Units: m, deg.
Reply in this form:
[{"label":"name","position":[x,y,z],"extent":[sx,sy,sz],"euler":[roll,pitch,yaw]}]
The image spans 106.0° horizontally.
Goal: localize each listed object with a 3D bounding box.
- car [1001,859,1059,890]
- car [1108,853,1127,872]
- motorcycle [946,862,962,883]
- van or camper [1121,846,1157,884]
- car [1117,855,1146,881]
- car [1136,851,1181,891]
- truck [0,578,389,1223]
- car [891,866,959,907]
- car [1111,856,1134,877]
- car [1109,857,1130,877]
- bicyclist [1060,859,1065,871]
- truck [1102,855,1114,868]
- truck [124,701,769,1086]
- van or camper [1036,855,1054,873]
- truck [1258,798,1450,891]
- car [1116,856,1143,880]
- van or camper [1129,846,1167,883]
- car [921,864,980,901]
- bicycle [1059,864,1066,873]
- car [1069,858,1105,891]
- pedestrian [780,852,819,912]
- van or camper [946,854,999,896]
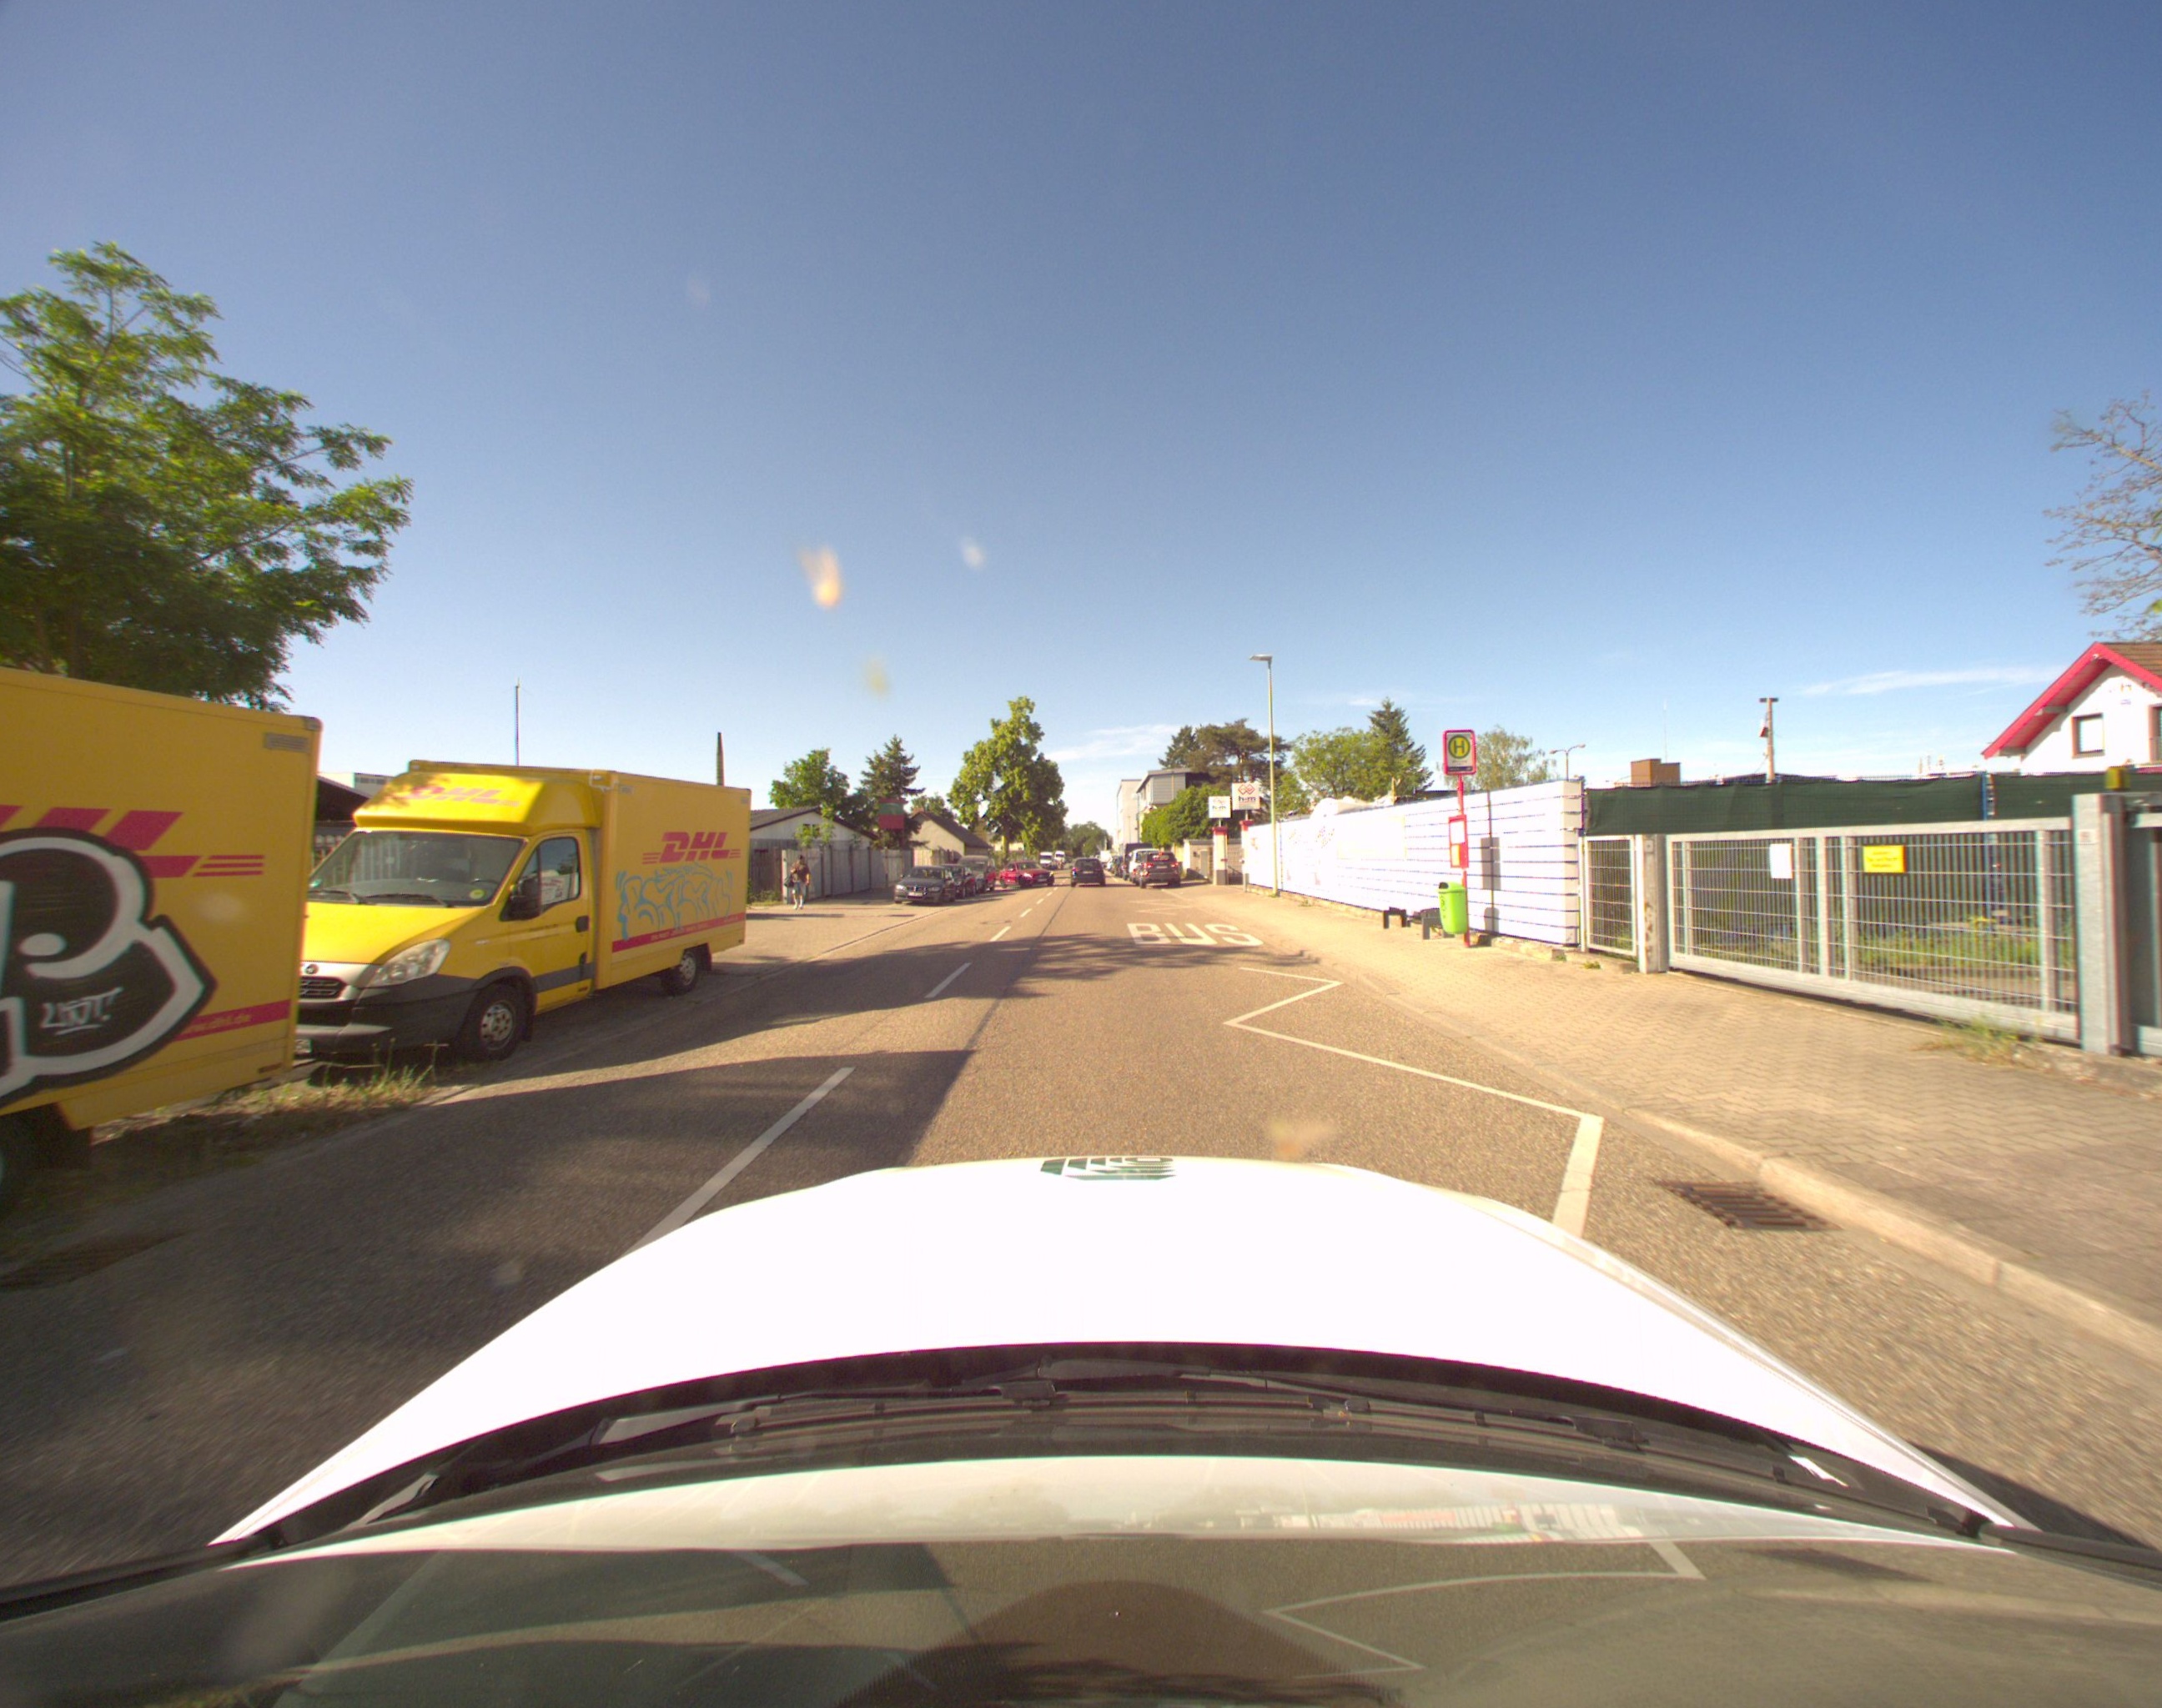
[{"label":"car","position":[-2.826,1.092,44.158],"extent":[1.884,1.485,4.013],"euler":[-3,0,-23]},{"label":"car","position":[3.787,0.876,85.554],"extent":[1.912,1.825,4.080],"euler":[-1,0,1]},{"label":"motorcycle","position":[-8.957,1.285,57.550],"extent":[0.774,1.445,2.039],"euler":[-1,0,1]},{"label":"van or camper","position":[3.645,0.688,51.752],"extent":[1.986,2.310,4.001],"euler":[-1,0,1]},{"label":"car","position":[3.659,0.990,59.143],"extent":[1.912,1.825,4.080],"euler":[-1,0,1]},{"label":"car","position":[3.761,0.798,40.145],"extent":[1.912,1.825,4.080],"euler":[-1,0,1]},{"label":"truck","position":[-6.216,0.201,2.604],"extent":[2.394,2.983,6.375],"euler":[0,0,1]},{"label":"car","position":[-5.888,1.189,31.230],"extent":[1.751,1.403,4.555],"euler":[-1,0,-1]},{"label":"car","position":[3.756,1.118,73.653],"extent":[1.912,1.825,4.080],"euler":[-1,0,1]},{"label":"car","position":[3.739,1.224,79.304],"extent":[1.912,1.825,4.080],"euler":[-1,0,1]},{"label":"bicyclist","position":[-2.500,1.475,109.216],"extent":[0.693,1.539,0.635],"euler":[-1,-1,-1]},{"label":"truck","position":[4.781,1.275,145.741],"extent":[1.986,2.288,6.956],"euler":[-1,0,1]},{"label":"truck","position":[-6.070,0.304,9.421],"extent":[2.184,2.902,6.441],"euler":[1,0,2]},{"label":"van or camper","position":[-5.042,1.326,113.183],"extent":[2.318,2.362,6.521],"euler":[-1,0,-3]},{"label":"truck","position":[11.753,-0.400,35.420],"extent":[7.358,3.771,2.829],"euler":[-1,-1,-4]},{"label":"car","position":[3.819,1.078,64.221],"extent":[1.912,1.825,4.080],"euler":[-1,0,1]},{"label":"van or camper","position":[3.797,0.593,46.601],"extent":[1.912,2.019,4.080],"euler":[-1,0,1]},{"label":"car","position":[-5.729,1.236,36.201],"extent":[1.687,1.469,4.177],"euler":[-1,0,3]},{"label":"bicycle","position":[-2.475,1.882,109.094],"extent":[0.826,1.153,2.939],"euler":[-1,0,0]},{"label":"car","position":[0.334,1.005,41.729],"extent":[1.705,1.532,3.689],"euler":[-2,0,2]},{"label":"pedestrian","position":[-8.963,0.879,25.958],"extent":[0.996,1.838,0.918],"euler":[-1,-1,-9]},{"label":"van or camper","position":[-5.390,1.036,40.988],"extent":[1.883,1.926,4.268],"euler":[-2,-1,2]}]
